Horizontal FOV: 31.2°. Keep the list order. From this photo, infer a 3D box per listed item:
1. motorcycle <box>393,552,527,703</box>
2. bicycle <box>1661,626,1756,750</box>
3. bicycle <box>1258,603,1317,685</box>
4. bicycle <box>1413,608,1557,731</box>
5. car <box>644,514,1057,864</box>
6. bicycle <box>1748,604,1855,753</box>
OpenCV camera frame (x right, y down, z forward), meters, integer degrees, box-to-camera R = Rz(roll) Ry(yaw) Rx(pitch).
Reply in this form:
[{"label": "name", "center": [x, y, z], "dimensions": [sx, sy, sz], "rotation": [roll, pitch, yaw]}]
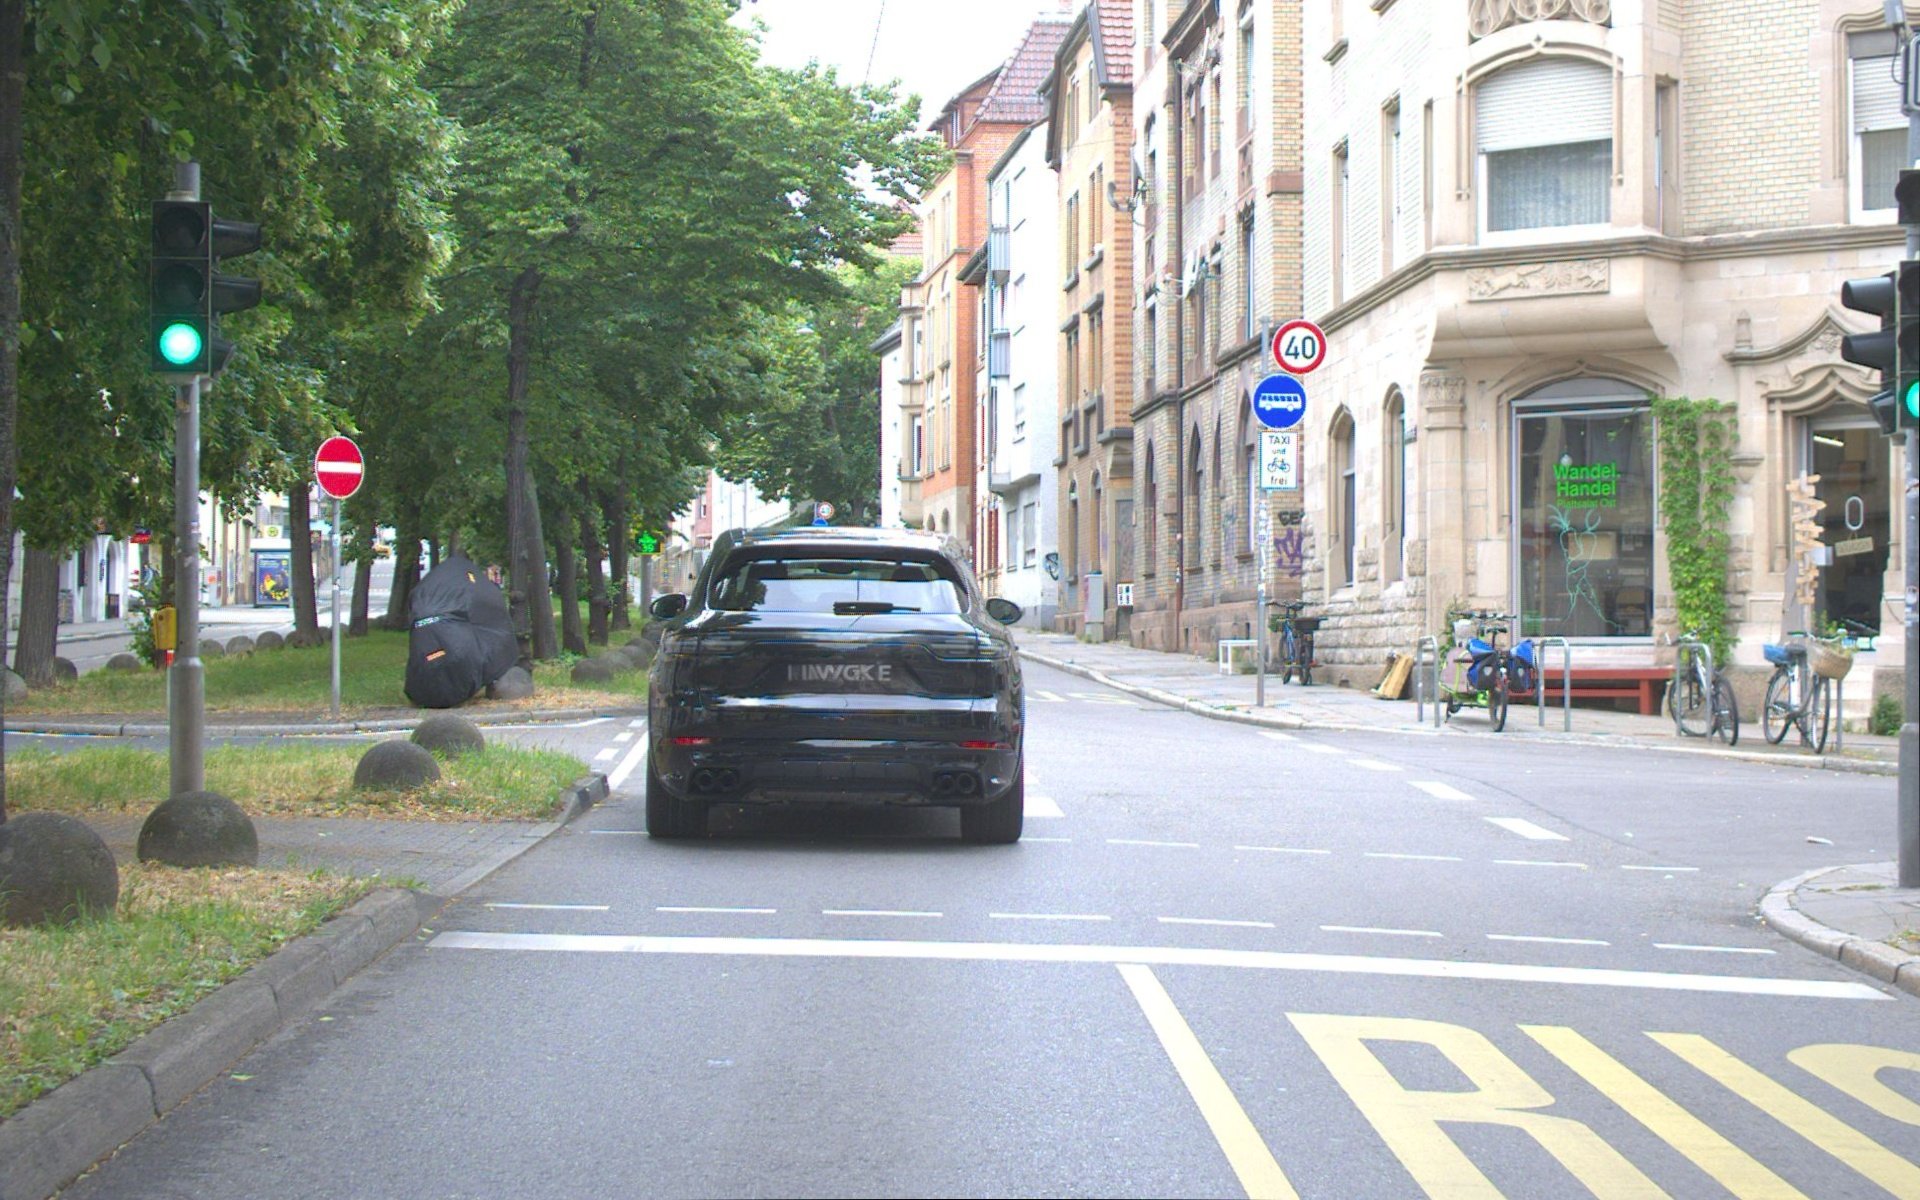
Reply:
[{"label": "motorcycle", "center": [-4.995, 0.267, 34.481], "dimensions": [1.019, 1.441, 2.247], "rotation": [-1, 0, -1]}, {"label": "bicycle", "center": [6.926, 0.800, 31.881], "dimensions": [0.349, 1.055, 1.834], "rotation": [3, 1, -2]}, {"label": "bicycle", "center": [4.253, 0.573, 44.784], "dimensions": [0.446, 1.033, 2.248], "rotation": [0, -1, -3]}, {"label": "bicycle", "center": [5.098, 0.648, 33.565], "dimensions": [0.879, 1.125, 2.979], "rotation": [1, 0, -1]}, {"label": "car", "center": [-0.676, 0.394, 18.989], "dimensions": [1.993, 1.660, 4.001], "rotation": [2, 2, -4]}, {"label": "bicycle", "center": [7.715, 0.704, 31.588], "dimensions": [0.446, 1.157, 1.835], "rotation": [-1, 5, -2]}]
